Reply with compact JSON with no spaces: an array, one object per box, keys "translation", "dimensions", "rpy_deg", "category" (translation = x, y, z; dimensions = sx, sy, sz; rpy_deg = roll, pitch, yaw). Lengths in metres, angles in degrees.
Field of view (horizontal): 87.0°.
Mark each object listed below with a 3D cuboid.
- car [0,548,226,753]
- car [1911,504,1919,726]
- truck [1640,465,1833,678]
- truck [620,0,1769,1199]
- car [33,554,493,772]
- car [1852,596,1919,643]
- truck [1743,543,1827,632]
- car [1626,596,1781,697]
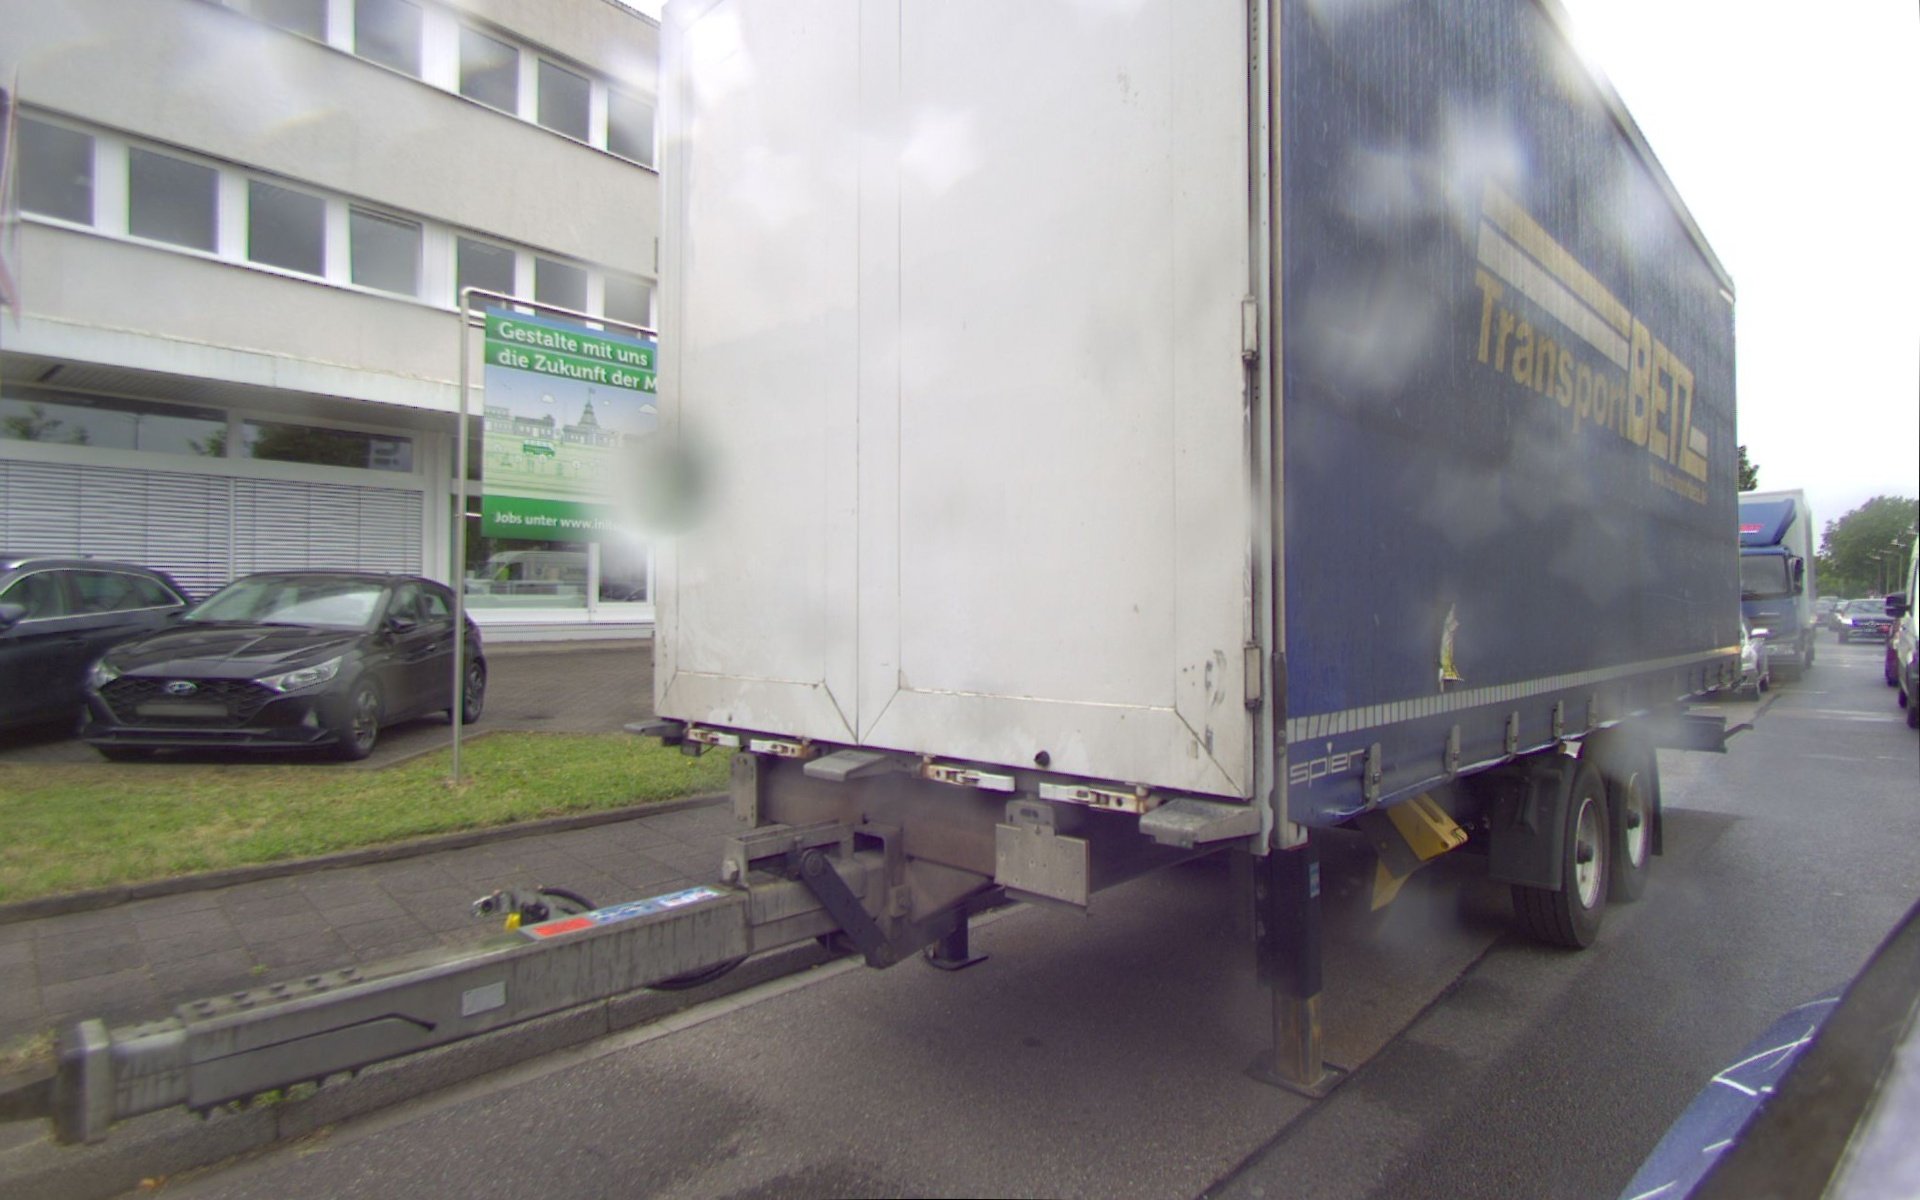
[{"translation":[-7.614,0.324,7.547],"dimensions":[1.656,1.434,4.156],"rpy_deg":[2,-1,-8],"category":"car"},{"translation":[13.390,0.183,12.643],"dimensions":[2.080,2.512,5.261],"rpy_deg":[1,1,44],"category":"car"},{"translation":[17.598,-0.501,22.633],"dimensions":[2.738,3.838,9.160],"rpy_deg":[-2,-1,41],"category":"truck"},{"translation":[2.315,-0.444,5.684],"dimensions":[2.740,3.657,7.627],"rpy_deg":[-2,-1,44],"category":"truck"},{"translation":[-5.453,0.478,8.584],"dimensions":[1.692,1.415,3.785],"rpy_deg":[1,-2,-9],"category":"car"},{"translation":[33.386,0.654,36.208],"dimensions":[1.990,1.583,3.944],"rpy_deg":[1,1,39],"category":"car"},{"translation":[38.021,-0.519,46.537],"dimensions":[2.668,3.739,7.891],"rpy_deg":[-2,-1,41],"category":"truck"},{"translation":[12.724,0.680,17.214],"dimensions":[1.796,1.459,4.281],"rpy_deg":[2,1,41],"category":"car"}]
